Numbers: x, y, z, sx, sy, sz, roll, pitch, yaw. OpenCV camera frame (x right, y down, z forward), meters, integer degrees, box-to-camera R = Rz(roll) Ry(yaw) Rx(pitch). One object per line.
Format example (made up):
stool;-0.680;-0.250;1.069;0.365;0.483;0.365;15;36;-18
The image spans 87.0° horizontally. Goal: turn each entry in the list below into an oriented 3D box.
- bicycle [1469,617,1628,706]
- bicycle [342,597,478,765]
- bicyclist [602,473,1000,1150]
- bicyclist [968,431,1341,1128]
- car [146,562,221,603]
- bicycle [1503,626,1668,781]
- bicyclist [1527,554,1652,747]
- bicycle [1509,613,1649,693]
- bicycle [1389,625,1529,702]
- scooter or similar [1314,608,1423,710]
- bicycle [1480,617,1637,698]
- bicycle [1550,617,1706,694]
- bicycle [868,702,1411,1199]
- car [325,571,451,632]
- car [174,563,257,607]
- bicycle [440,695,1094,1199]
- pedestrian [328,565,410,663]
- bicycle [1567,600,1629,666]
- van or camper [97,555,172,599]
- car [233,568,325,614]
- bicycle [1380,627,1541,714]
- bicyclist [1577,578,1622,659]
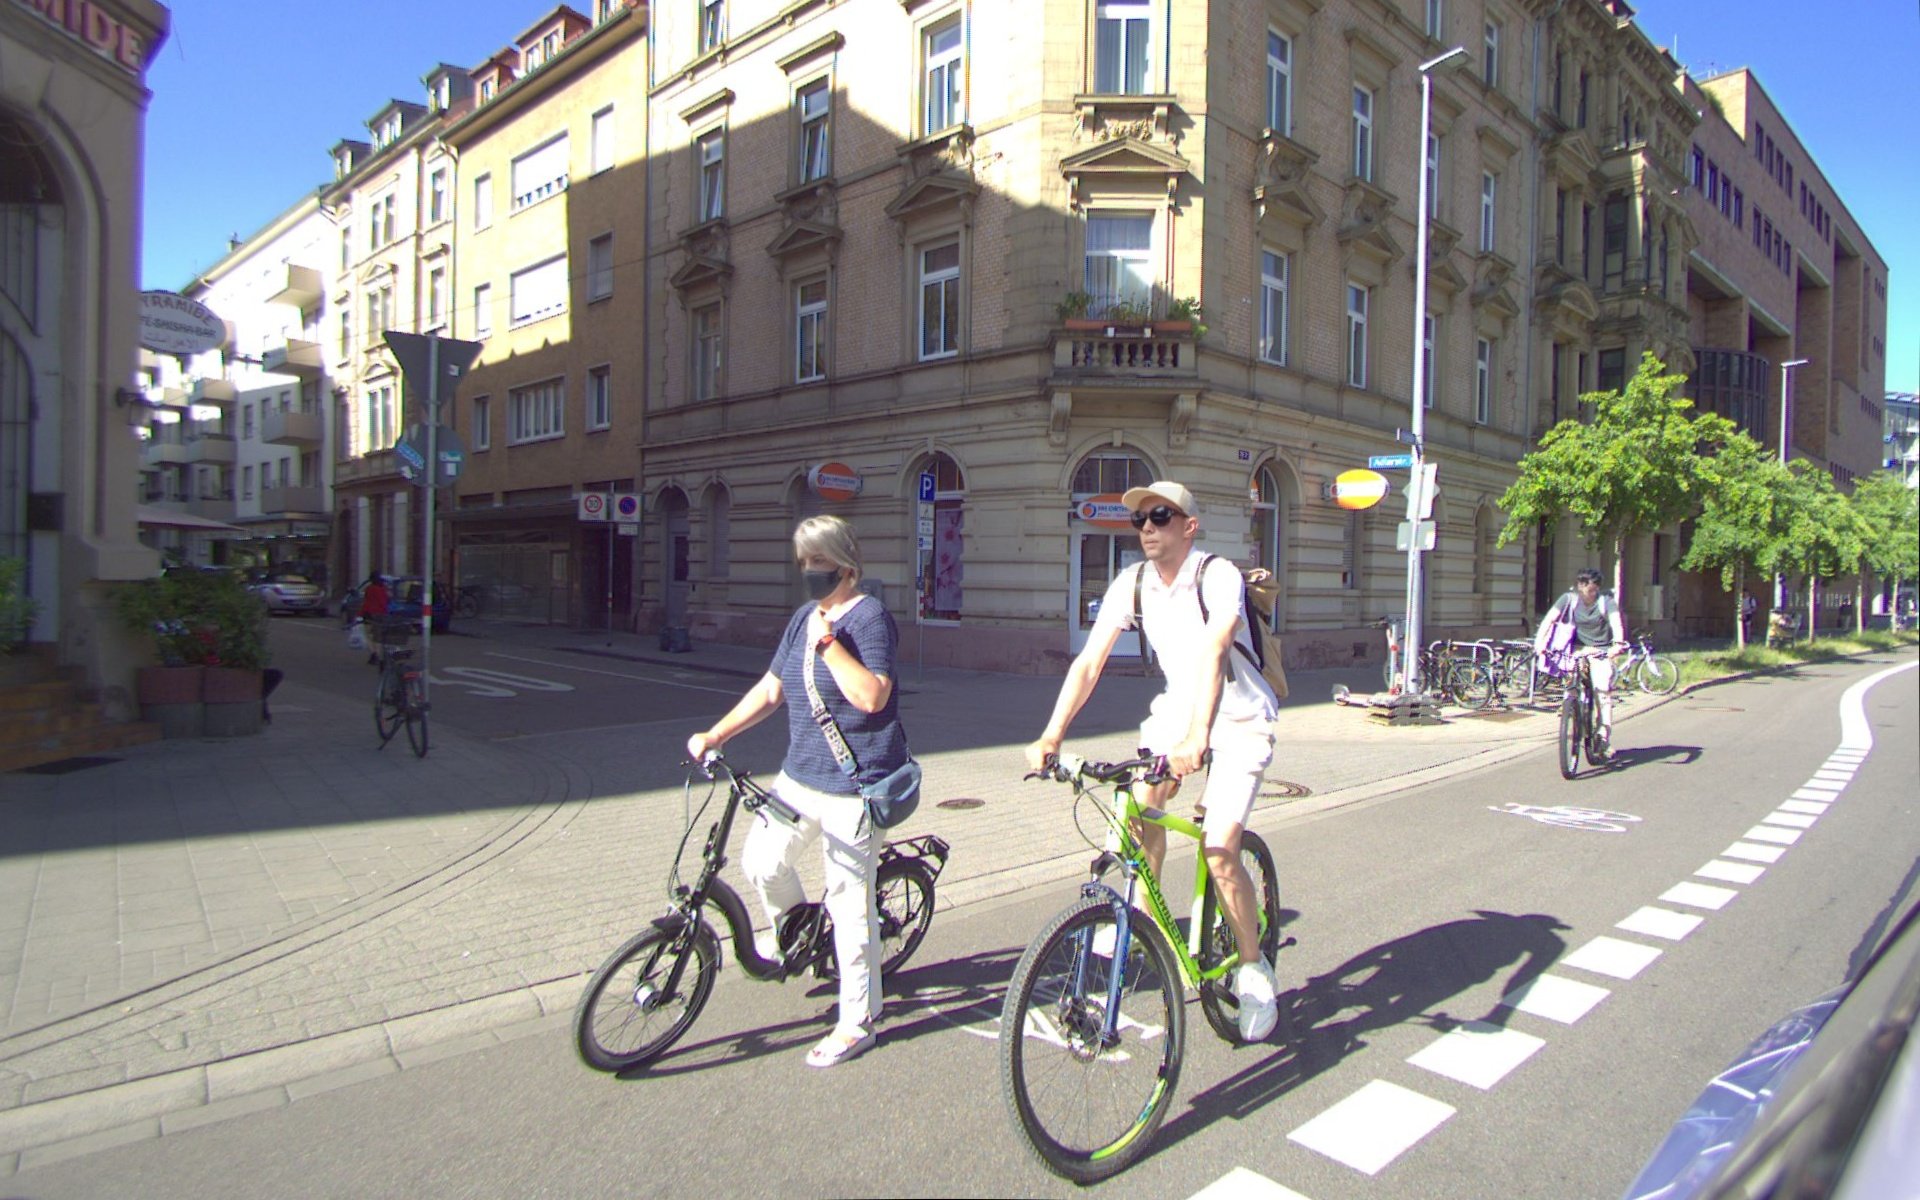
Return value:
bicycle;8.576;0.865;14.810;0.598;1.061;1.873;0;4;-45
bicycle;-4.961;0.651;9.051;0.801;1.247;2.221;4;-1;-34
bicyclist;-0.512;0.544;3.265;0.971;1.749;0.853;0;-1;-41
bicyclist;0.605;0.429;3.033;0.698;1.678;0.962;0;-1;43
car;-29.995;-0.676;39.077;3.425;1.424;1.605;3;0;41
bicycle;5.646;0.862;9.092;1.918;1.209;0.724;0;0;-41
bicyclist;5.674;0.427;9.123;0.879;1.625;0.724;0;-1;-41
bicycle;10.282;0.841;16.836;1.115;1.074;1.677;-1;5;-42
bicycle;7.002;0.867;14.265;0.488;0.937;1.716;0;2;-40
scooter or similar;5.257;0.731;13.060;0.479;1.213;1.197;0;1;-45
bicycle;9.468;0.870;16.055;1.013;1.043;1.901;-1;4;-43
bicycle;11.520;0.922;17.506;0.833;1.054;2.062;-1;5;-41
bicycle;0.671;0.917;3.099;0.723;1.019;1.922;0;0;43
car;-14.647;0.002;25.870;3.686;1.428;1.594;2;1;39
car;-26.238;-0.535;35.634;3.425;1.424;1.605;3;0;41
bicycle;-0.519;0.905;3.258;1.918;1.019;0.829;0;0;-41
pedestrian;-9.948;0.220;17.046;0.827;1.594;0.899;0;0;30
bicycle;13.284;0.650;21.038;2.062;1.268;0.578;-1;2;-43
van or camper;-37.869;-1.071;46.391;4.527;1.867;1.857;3;0;41
car;-21.109;-0.308;31.335;3.376;1.338;1.604;1;1;42
bicycle;6.698;0.916;13.661;0.580;0.922;1.911;0;3;-32
bicyclist;13.283;0.357;21.019;0.781;1.637;0.578;0;1;-43
